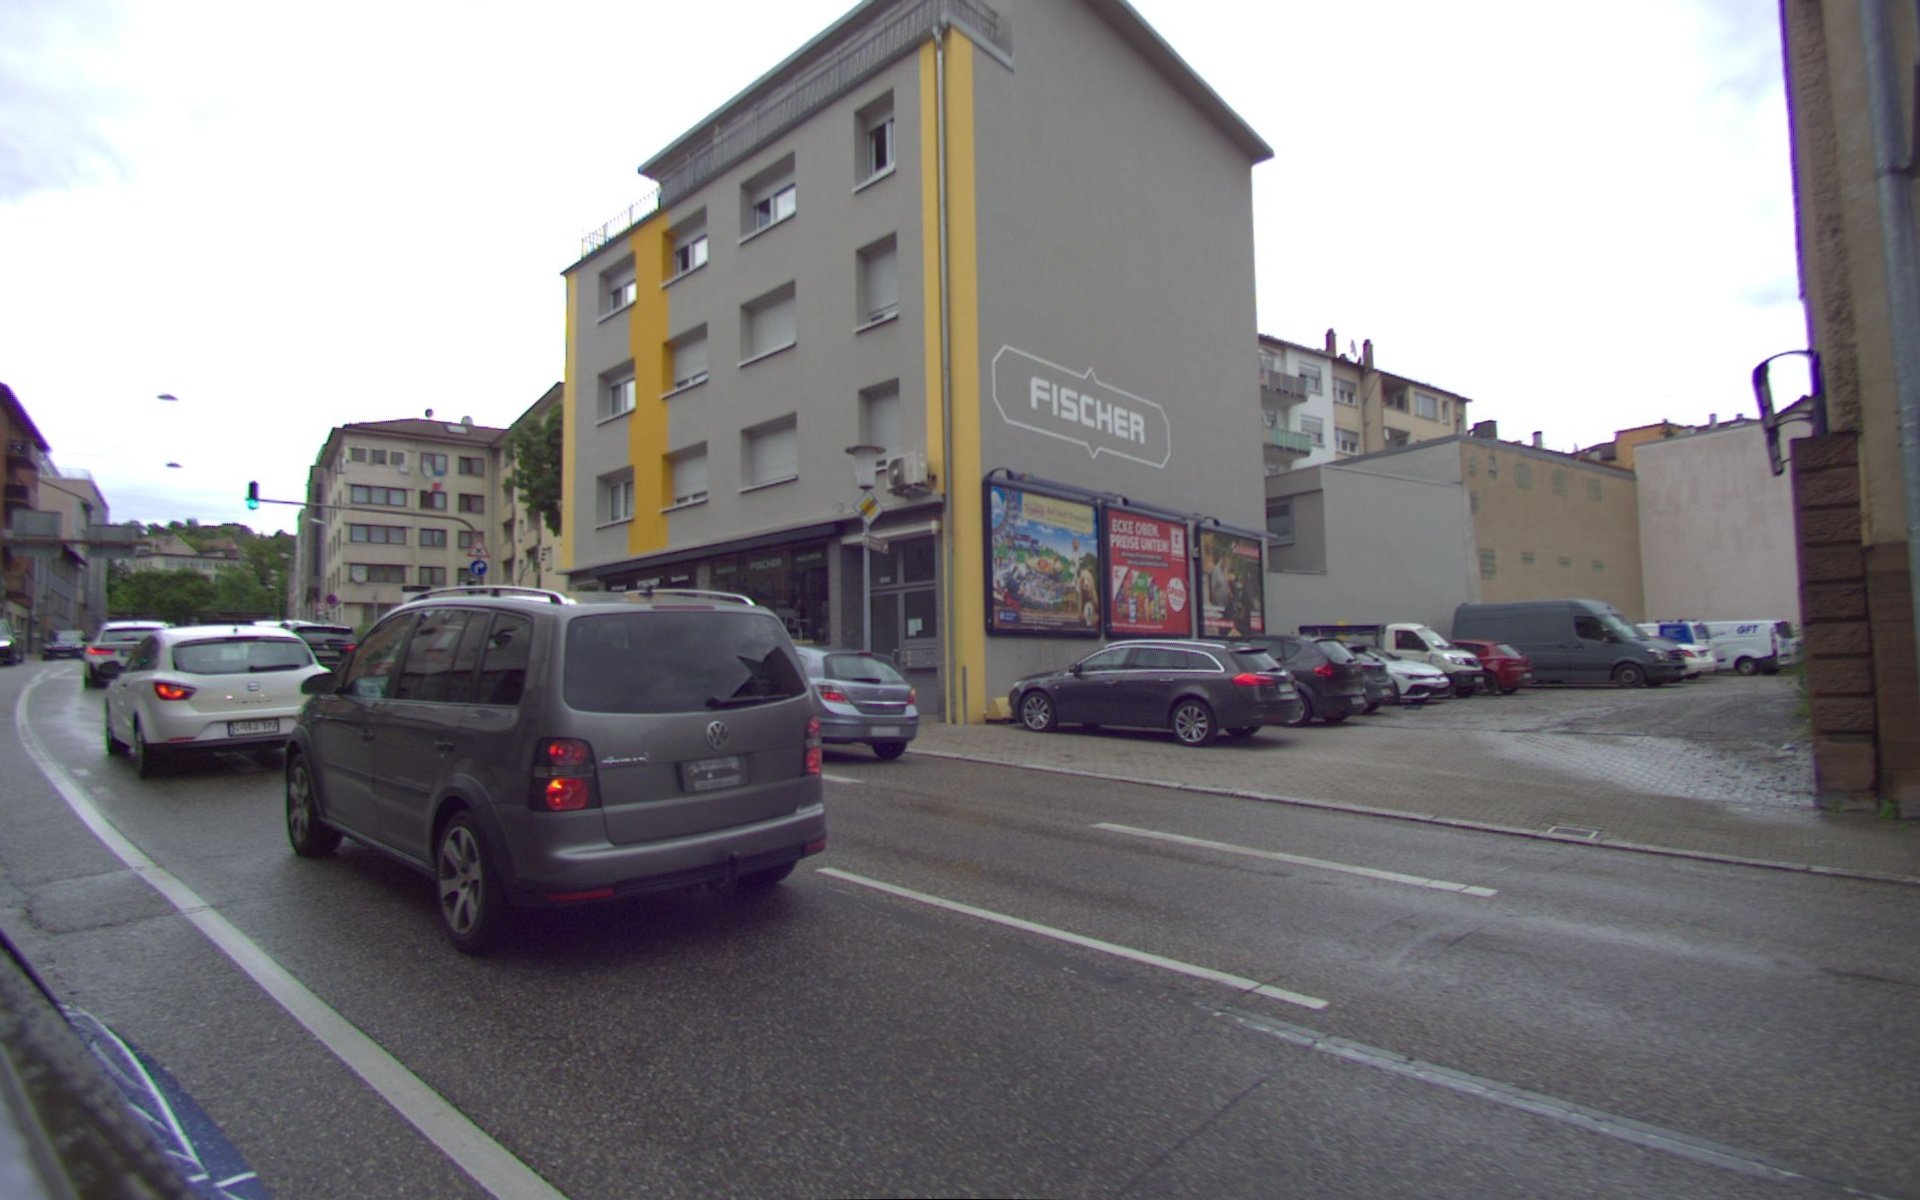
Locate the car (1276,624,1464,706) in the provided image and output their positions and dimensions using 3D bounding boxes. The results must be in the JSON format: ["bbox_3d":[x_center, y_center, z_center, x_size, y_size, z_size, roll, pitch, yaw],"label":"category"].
[{"bbox_3d":[9.356,1.535,23.311,1.653,1.684,3.552,1,-6,-41],"label":"car"}]

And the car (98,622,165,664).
[{"bbox_3d":[-30.586,1.554,37.311,1.784,1.425,4.385,3,-2,-40],"label":"car"}]

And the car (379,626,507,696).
[{"bbox_3d":[-13.284,1.533,25.920,3.929,1.622,1.637,-1,-4,43],"label":"car"}]

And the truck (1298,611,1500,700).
[{"bbox_3d":[10.983,1.445,25.552,1.695,1.987,4.228,1,-6,-44],"label":"truck"}]

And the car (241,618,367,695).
[{"bbox_3d":[-15.816,1.313,24.304,1.784,1.644,4.348,6,-4,-41],"label":"car"}]

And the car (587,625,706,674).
[{"bbox_3d":[-12.056,1.876,39.180,1.767,1.741,4.302,1,-1,30],"label":"car"}]

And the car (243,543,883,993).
[{"bbox_3d":[-2.668,0.675,6.097,4.561,1.718,1.787,-1,-2,43],"label":"car"}]

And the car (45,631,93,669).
[{"bbox_3d":[-48.037,2.712,54.593,1.766,1.741,4.007,1,-6,-39],"label":"car"}]

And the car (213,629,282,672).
[{"bbox_3d":[-26.555,1.896,37.661,1.796,1.489,4.386,2,-4,-39],"label":"car"}]

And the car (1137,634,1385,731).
[{"bbox_3d":[5.207,1.358,17.803,3.853,1.475,1.673,-1,-2,42],"label":"car"}]

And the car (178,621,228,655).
[{"bbox_3d":[-37.351,1.857,49.885,1.796,1.548,4.387,2,-2,-39],"label":"car"}]

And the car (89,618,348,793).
[{"bbox_3d":[-8.223,0.971,11.055,1.679,1.491,4.293,0,0,-45],"label":"car"}]

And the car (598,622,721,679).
[{"bbox_3d":[-10.855,1.780,36.804,1.858,1.807,3.950,-2,0,37],"label":"car"}]

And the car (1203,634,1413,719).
[{"bbox_3d":[6.987,1.571,20.552,1.713,1.527,3.568,1,-6,-45],"label":"car"}]

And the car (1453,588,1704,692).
[{"bbox_3d":[17.637,1.243,29.223,2.099,2.578,5.642,0,-5,-36],"label":"car"}]

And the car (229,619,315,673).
[{"bbox_3d":[-21.205,1.437,31.123,1.783,1.554,4.386,2,-4,-39],"label":"car"}]

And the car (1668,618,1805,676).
[{"bbox_3d":[27.778,1.719,36.304,1.504,1.851,3.504,0,-6,-38],"label":"car"}]

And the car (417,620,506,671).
[{"bbox_3d":[-20.447,1.927,41.719,1.707,1.843,4.063,5,-5,-4],"label":"car"}]

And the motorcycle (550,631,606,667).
[{"bbox_3d":[-14.721,1.889,39.028,0.540,1.339,1.963,-3,-3,44],"label":"motorcycle"}]

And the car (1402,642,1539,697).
[{"bbox_3d":[13.376,1.856,26.597,1.300,1.285,2.850,0,-6,-38],"label":"car"}]

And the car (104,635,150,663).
[{"bbox_3d":[-49.214,2.920,59.866,1.810,1.566,4.009,1,-3,-35],"label":"car"}]

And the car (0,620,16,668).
[{"bbox_3d":[-30.806,1.408,31.576,1.847,1.453,4.005,1,-3,-42],"label":"car"}]

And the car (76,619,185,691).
[{"bbox_3d":[-19.578,1.232,23.862,1.784,1.533,4.568,3,-2,-40],"label":"car"}]

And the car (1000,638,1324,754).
[{"bbox_3d":[2.969,1.355,15.539,4.659,1.466,1.674,-1,-2,39],"label":"car"}]

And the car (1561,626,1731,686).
[{"bbox_3d":[20.454,1.706,30.299,1.765,1.564,3.766,1,-6,-39],"label":"car"}]

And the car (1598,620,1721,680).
[{"bbox_3d":[22.468,1.632,32.571,1.300,1.751,2.850,0,-6,-38],"label":"car"}]

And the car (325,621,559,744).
[{"bbox_3d":[-7.718,1.133,14.909,4.131,1.527,1.721,-1,-4,43],"label":"car"}]

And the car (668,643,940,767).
[{"bbox_3d":[-2.202,1.409,13.562,3.802,1.398,1.642,-7,-6,45],"label":"car"}]
